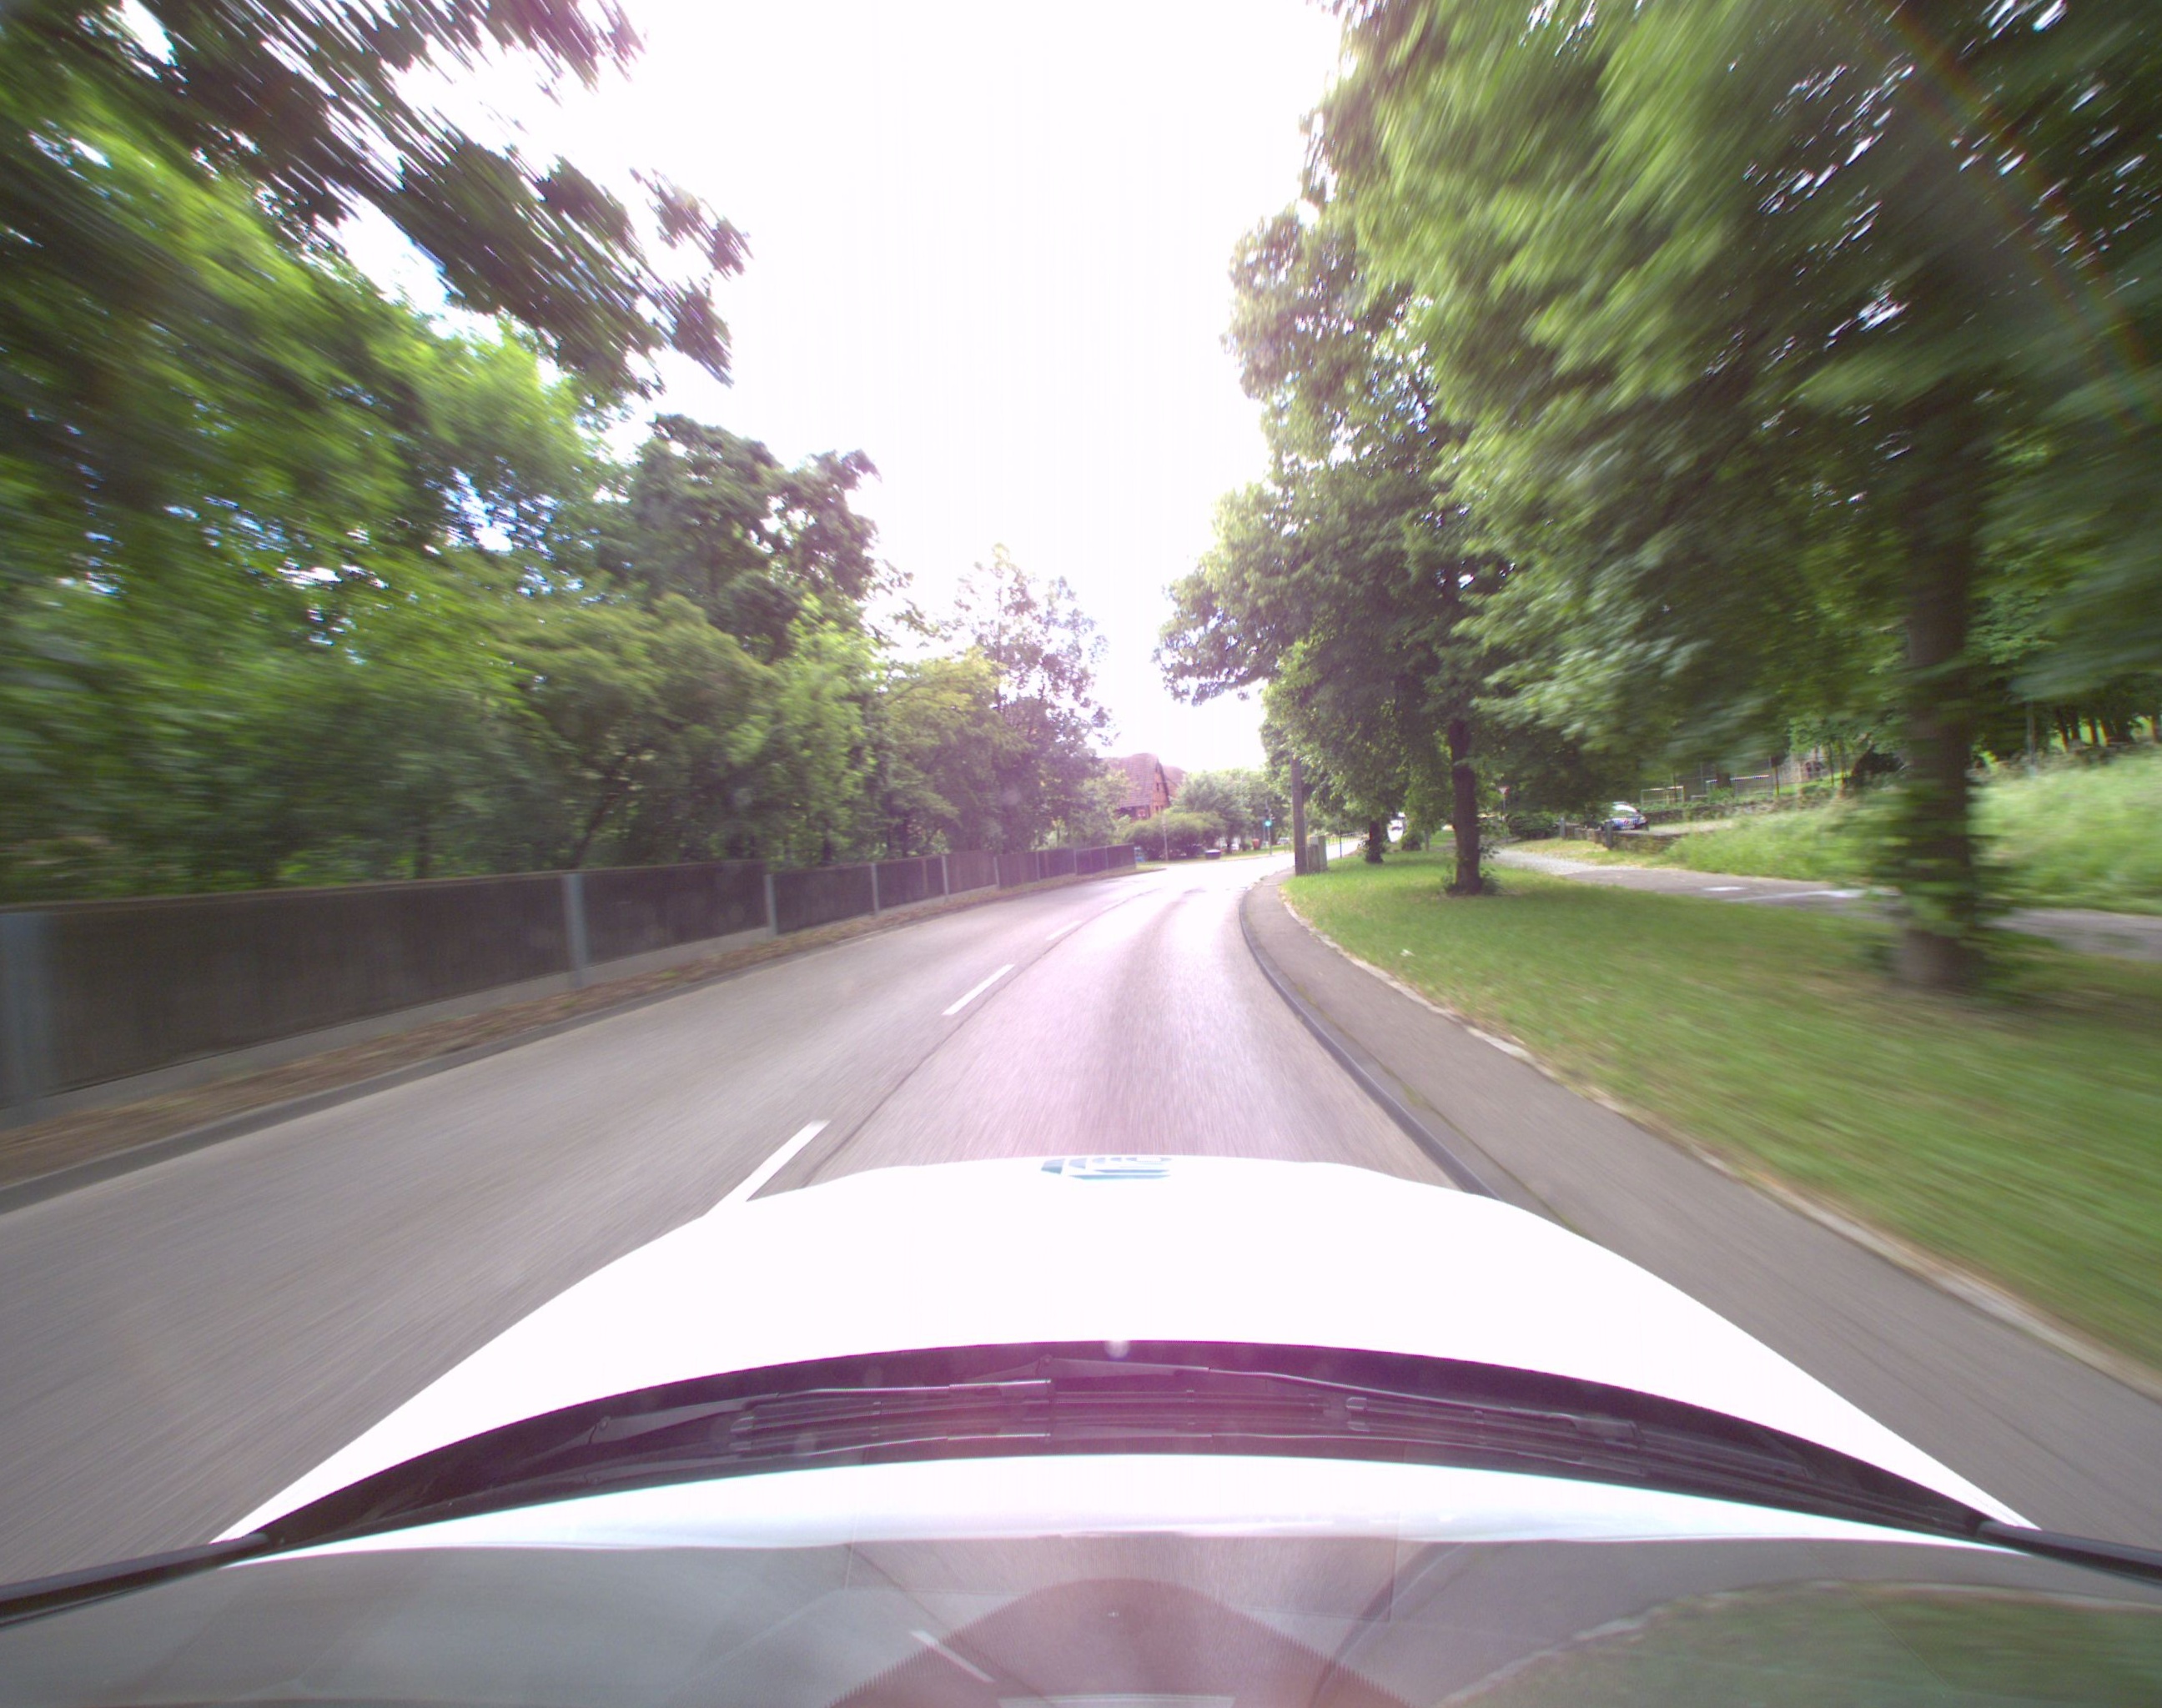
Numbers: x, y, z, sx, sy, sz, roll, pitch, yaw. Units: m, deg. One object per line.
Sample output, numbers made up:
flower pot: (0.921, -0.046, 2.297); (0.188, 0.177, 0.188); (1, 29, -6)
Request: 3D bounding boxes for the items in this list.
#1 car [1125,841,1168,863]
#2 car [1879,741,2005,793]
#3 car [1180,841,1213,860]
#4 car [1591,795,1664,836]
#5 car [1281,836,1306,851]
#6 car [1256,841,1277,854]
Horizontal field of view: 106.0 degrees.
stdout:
car: (5.767, -0.182, 71.087); (1.974, 1.618, 4.476); (-6, -1, 29)
car: (34.057, -3.411, 32.388); (1.975, 1.650, 4.025); (-8, 1, 25)
car: (11.504, -0.347, 80.962); (1.794, 1.618, 4.026); (-6, -1, 29)
car: (23.586, -1.712, 35.307); (1.889, 1.430, 4.494); (-6, 2, 25)
car: (27.734, -1.387, 106.396); (1.902, 1.694, 4.026); (-6, 0, 32)
car: (22.626, -0.820, 99.231); (1.537, 1.277, 2.571); (-6, 0, 32)
